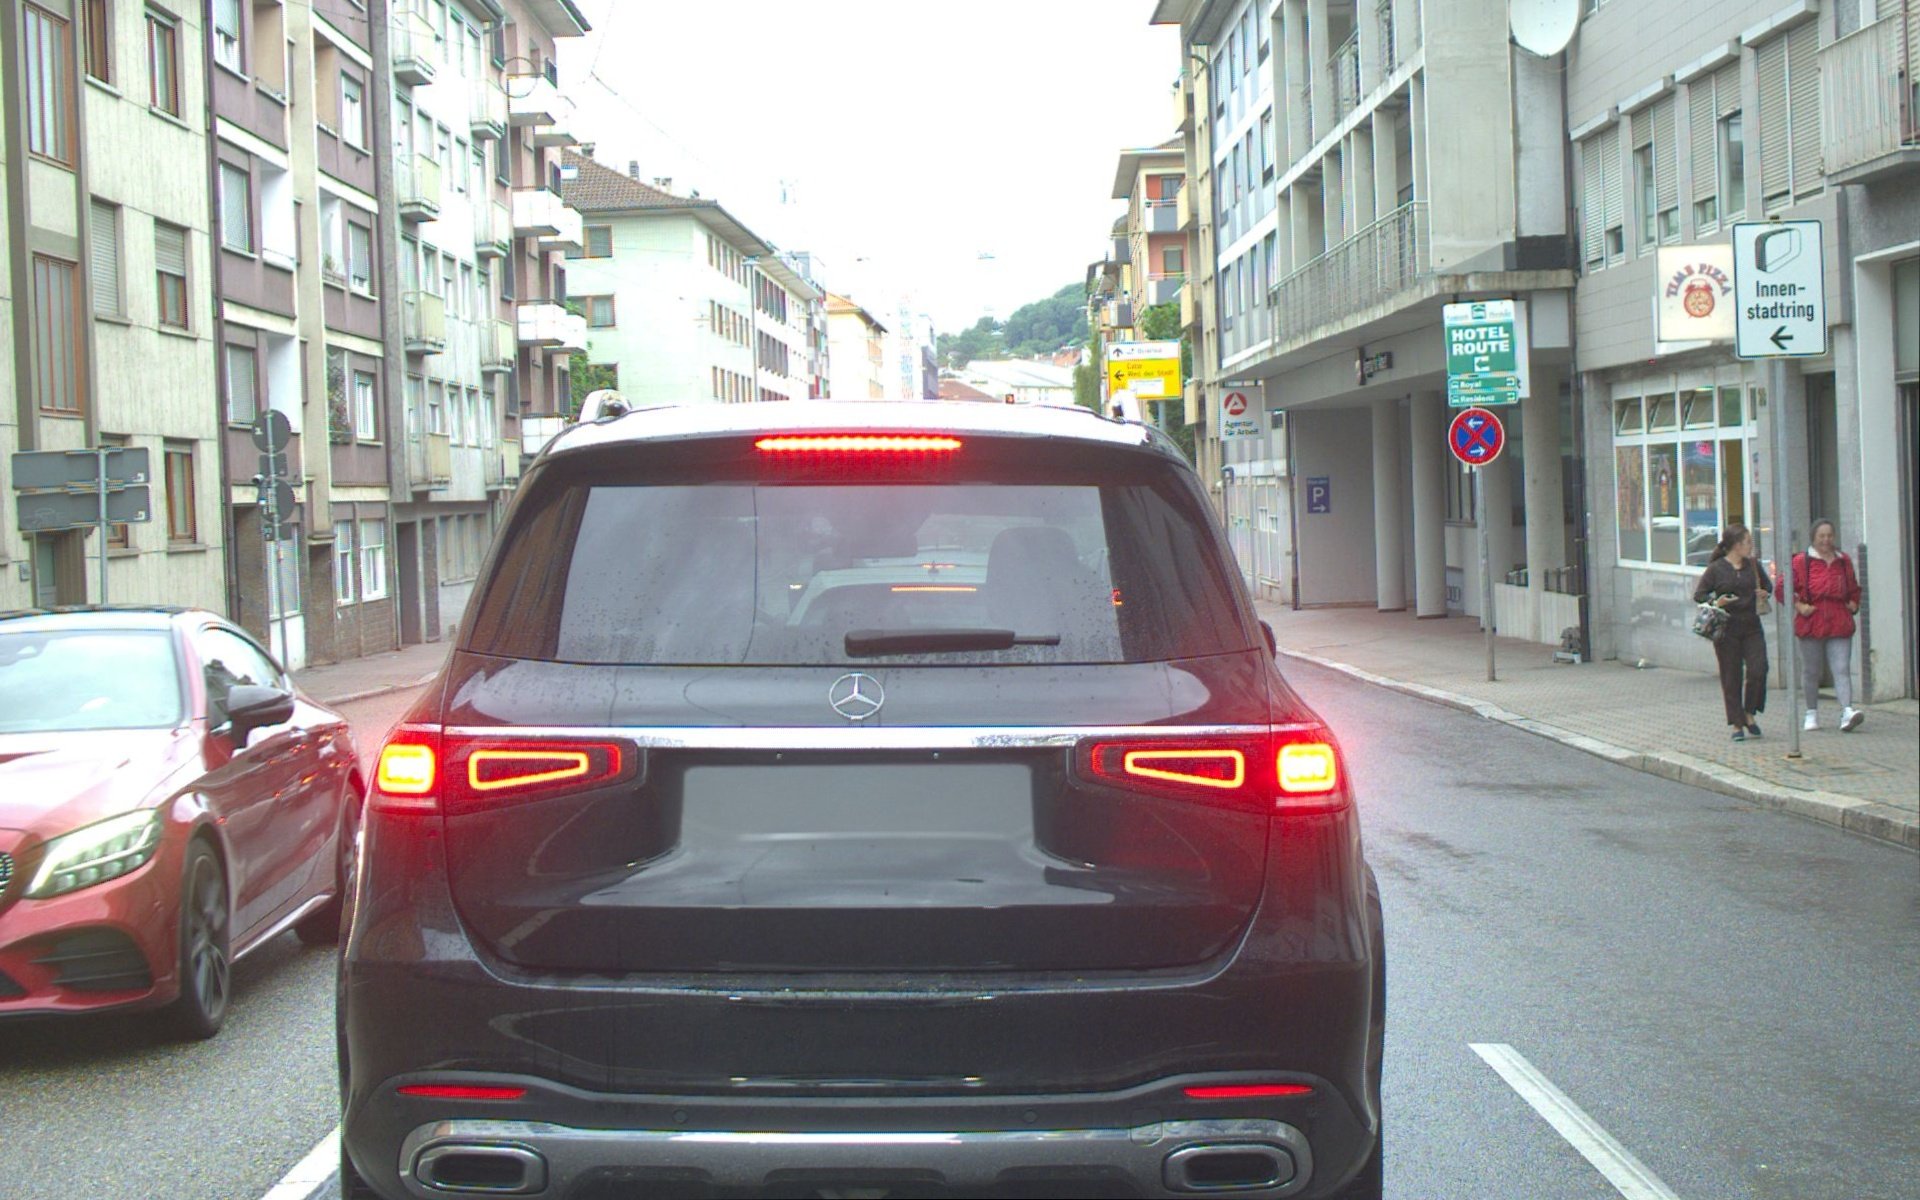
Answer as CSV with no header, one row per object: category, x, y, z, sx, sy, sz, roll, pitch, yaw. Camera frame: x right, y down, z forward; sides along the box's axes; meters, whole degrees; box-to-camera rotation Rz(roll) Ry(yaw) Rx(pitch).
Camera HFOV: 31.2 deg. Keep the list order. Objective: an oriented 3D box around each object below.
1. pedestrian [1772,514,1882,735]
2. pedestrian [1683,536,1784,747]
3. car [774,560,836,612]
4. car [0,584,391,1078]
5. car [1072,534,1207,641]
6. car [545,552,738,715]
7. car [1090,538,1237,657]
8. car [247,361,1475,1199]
pedestrian,6.373,0.175,25.289,0.560,1.573,0.526,-4,1,-1
pedestrian,5.673,0.298,25.230,0.506,1.495,0.562,-4,1,-1
car,-4.613,-0.433,102.691,1.648,1.434,4.125,-3,1,-1
car,-3.270,0.704,12.311,1.724,1.385,4.339,-3,1,-1
car,3.050,-0.240,59.239,1.940,1.769,4.747,0,1,-2
car,-3.491,0.326,38.273,1.732,1.570,4.012,-5,1,-1
car,2.803,-0.065,48.079,1.767,1.575,4.000,-1,1,-1
car,-0.207,0.486,7.732,2.025,1.799,4.000,1,1,-1
